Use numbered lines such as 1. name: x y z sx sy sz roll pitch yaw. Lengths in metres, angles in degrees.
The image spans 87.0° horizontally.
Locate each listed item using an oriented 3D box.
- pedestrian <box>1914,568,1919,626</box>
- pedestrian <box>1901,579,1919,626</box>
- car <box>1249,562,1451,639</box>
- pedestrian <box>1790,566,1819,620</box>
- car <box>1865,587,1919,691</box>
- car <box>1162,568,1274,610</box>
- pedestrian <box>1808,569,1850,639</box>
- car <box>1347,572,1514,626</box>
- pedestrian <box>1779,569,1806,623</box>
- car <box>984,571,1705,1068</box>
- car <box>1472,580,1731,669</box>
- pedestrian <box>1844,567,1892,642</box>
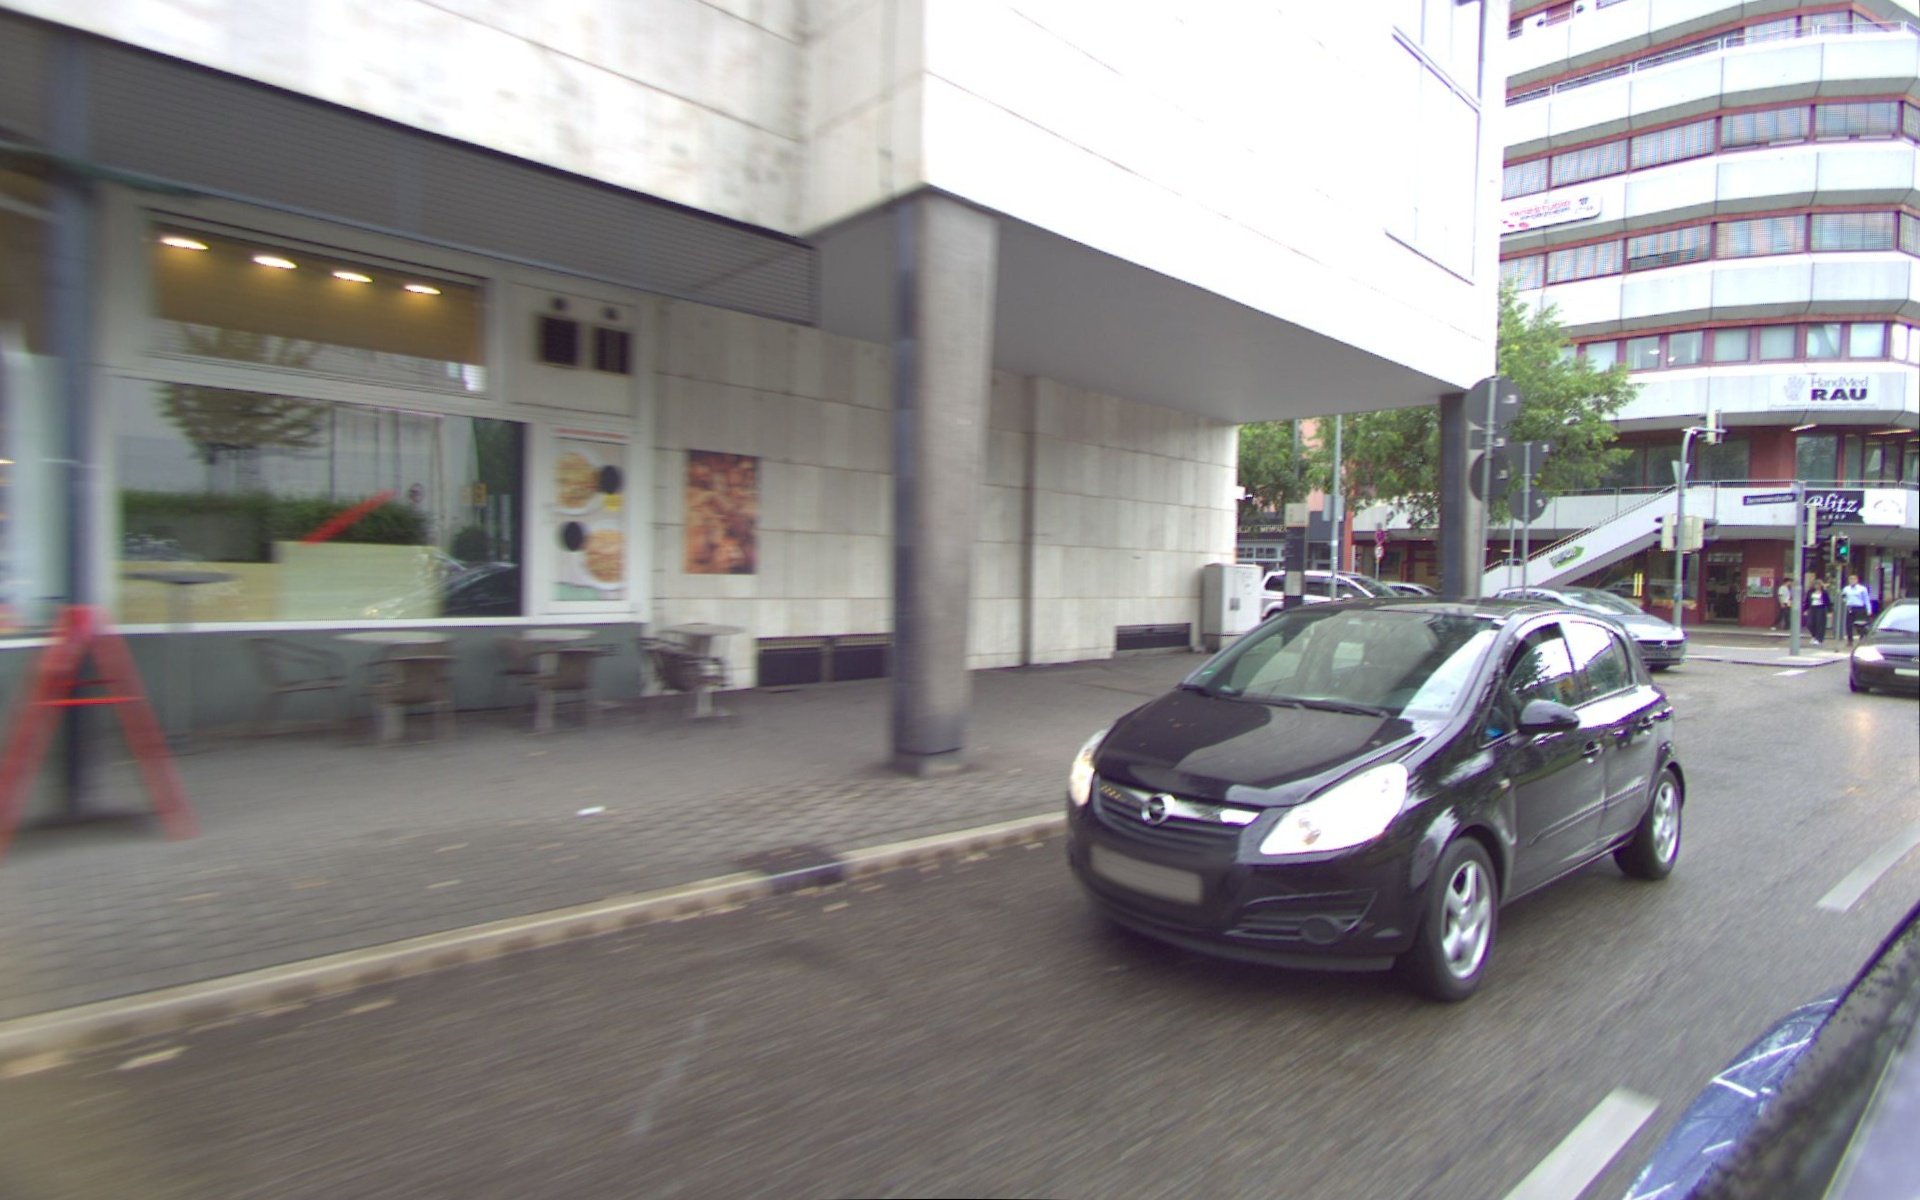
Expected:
1. pedestrian: 32.641 -0.100 33.959 0.663 1.918 0.735 -2 3 -31
2. pedestrian: 35.146 0.083 37.115 0.921 1.683 0.577 0 3 -29
3. car: 10.049 -0.077 26.374 1.823 1.781 4.605 -2 3 -39
4. pedestrian: 28.485 -0.238 34.142 0.483 1.784 0.598 -2 2 -30
5. car: 15.029 0.560 15.196 3.562 1.459 1.596 0 1 -39
6. car: 10.290 -0.421 40.516 1.778 1.571 3.992 -3 2 -42
7. pedestrian: 23.010 0.090 26.799 0.663 1.795 0.625 -2 2 -24
8. car: 14.225 -0.071 30.785 1.758 1.437 4.265 0 2 -43
9. pedestrian: 27.878 -0.147 33.907 0.520 1.784 0.509 0 2 17
10. car: 2.043 0.631 4.863 3.677 1.475 1.711 0 1 -41
11. car: 12.151 0.374 19.527 1.958 1.495 4.008 0 1 -12
12. pedestrian: 23.514 0.100 26.205 0.830 1.869 0.625 -2 2 -24
